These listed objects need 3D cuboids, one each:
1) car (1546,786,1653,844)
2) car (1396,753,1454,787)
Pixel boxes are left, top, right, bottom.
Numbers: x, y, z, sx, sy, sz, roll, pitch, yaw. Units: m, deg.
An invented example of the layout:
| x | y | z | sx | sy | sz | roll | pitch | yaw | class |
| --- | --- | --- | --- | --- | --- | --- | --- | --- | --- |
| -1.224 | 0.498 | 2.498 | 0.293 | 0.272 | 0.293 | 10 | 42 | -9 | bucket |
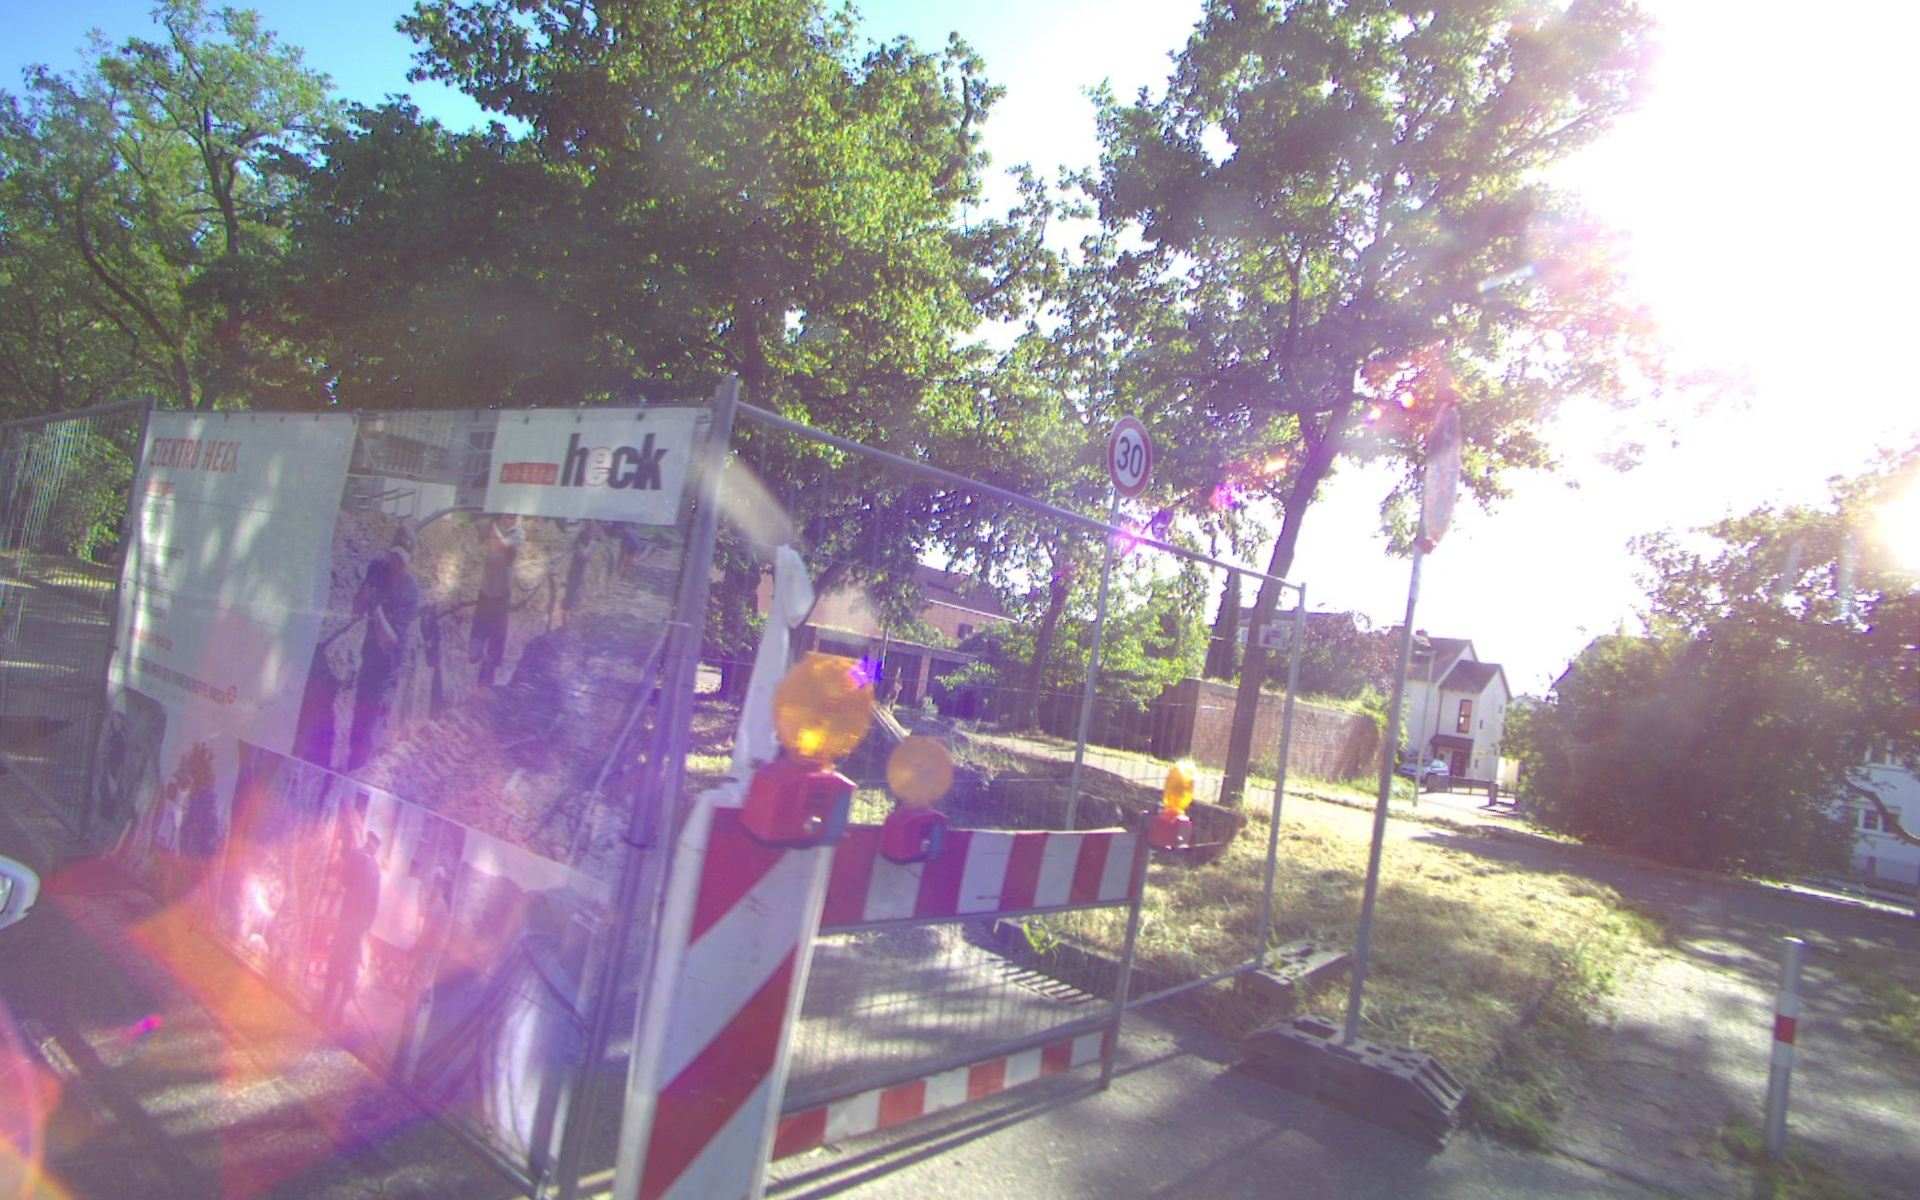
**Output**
| x | y | z | sx | sy | sz | roll | pitch | yaw | class |
| --- | --- | --- | --- | --- | --- | --- | --- | --- | --- |
| 25.445 | 8.539 | 40.111 | 1.512 | 1.568 | 3.167 | 11 | -4 | -24 | car |
| 27.879 | 10.197 | 60.307 | 3.613 | 1.514 | 1.437 | 12 | -5 | -36 | car |
